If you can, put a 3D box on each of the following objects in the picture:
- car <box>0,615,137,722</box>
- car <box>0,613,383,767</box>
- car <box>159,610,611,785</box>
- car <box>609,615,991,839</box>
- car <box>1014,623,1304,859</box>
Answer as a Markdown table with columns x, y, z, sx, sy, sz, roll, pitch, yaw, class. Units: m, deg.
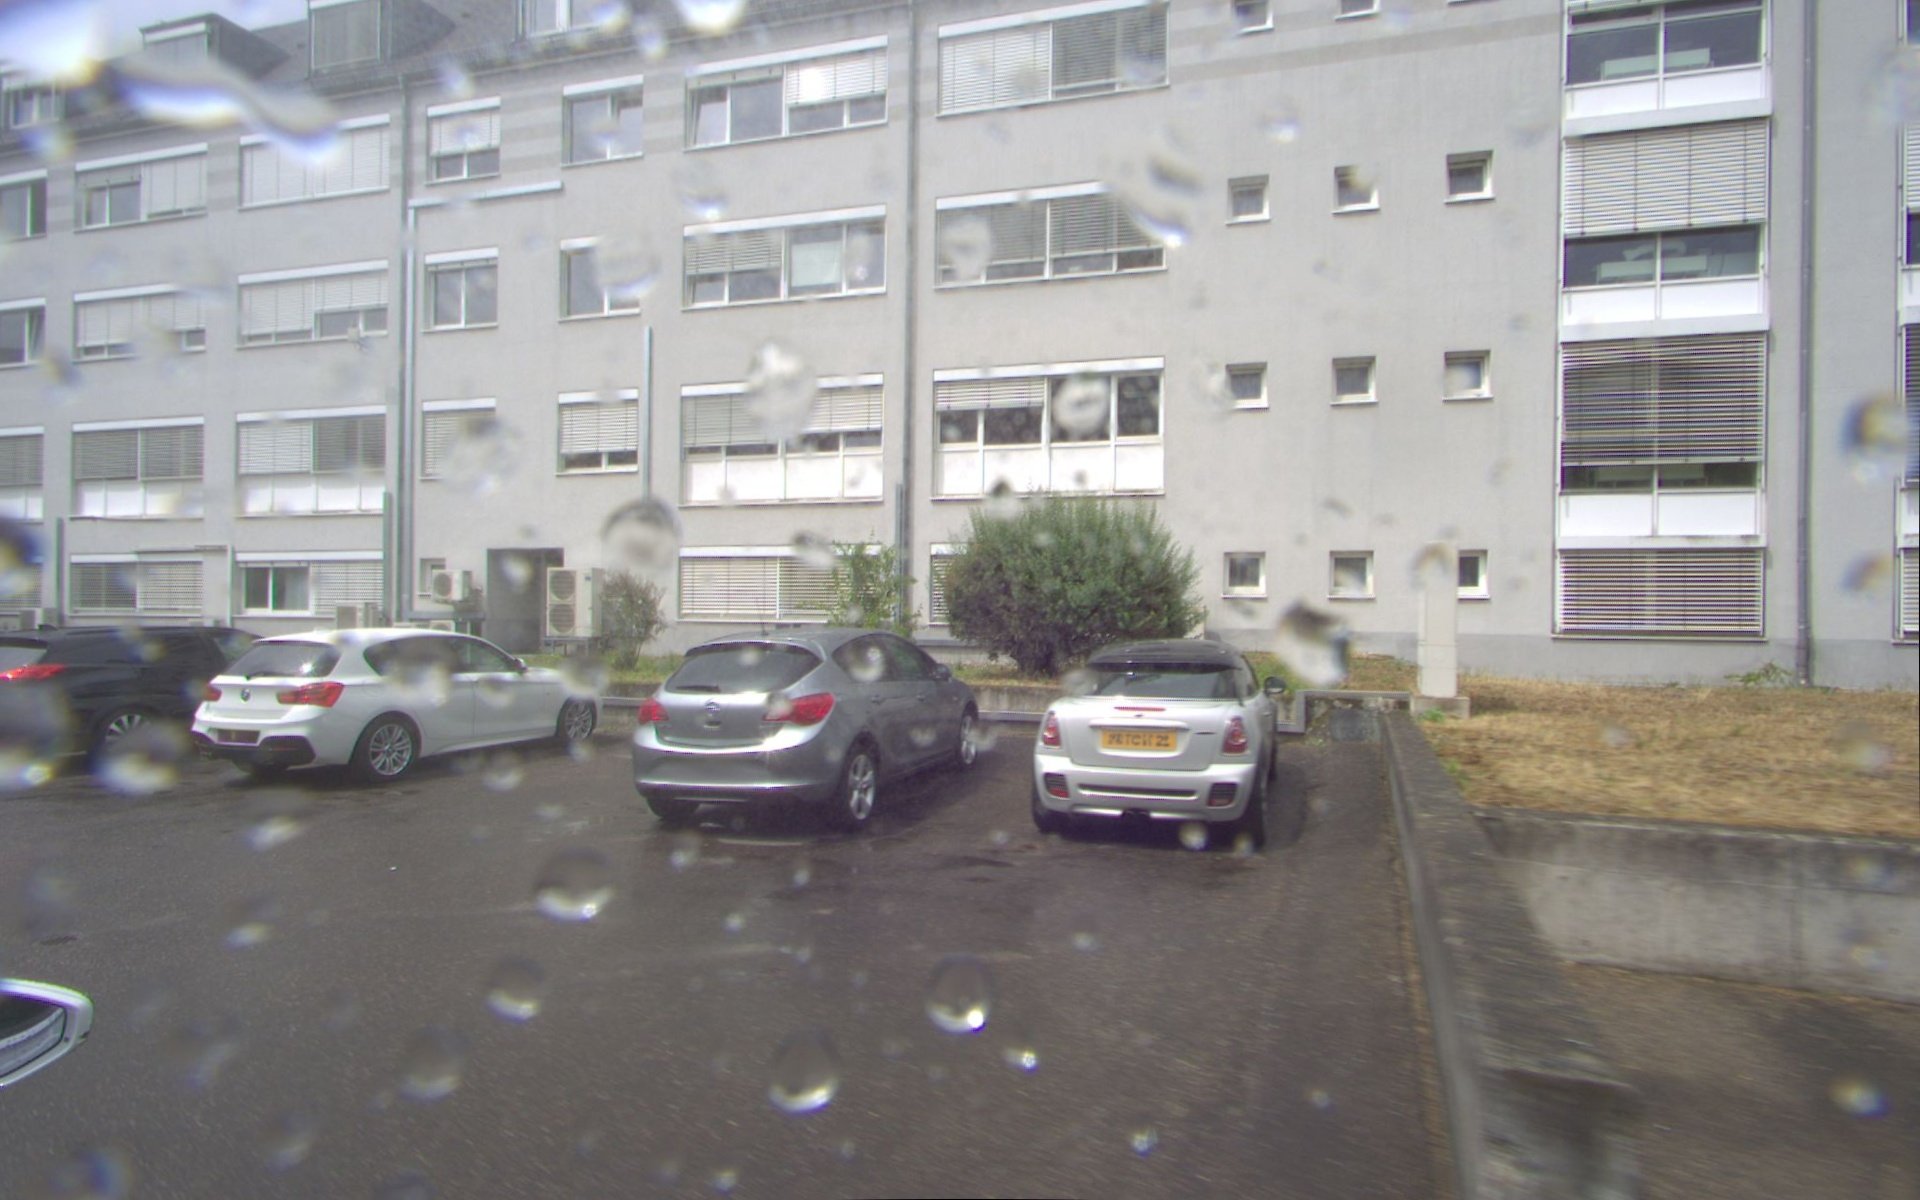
| x | y | z | sx | sy | sz | roll | pitch | yaw | class |
| --- | --- | --- | --- | --- | --- | --- | --- | --- | --- |
| -13.530 | 0.886 | 12.829 | 1.826 | 1.366 | 4.364 | 1 | -1 | 15 | car |
| -9.149 | 0.872 | 11.568 | 1.904 | 1.419 | 4.179 | 0 | -1 | 15 | car |
| -5.830 | 0.867 | 10.811 | 1.800 | 1.474 | 4.105 | 1 | 0 | 18 | car |
| -1.090 | 0.883 | 8.801 | 1.638 | 1.477 | 4.087 | 0 | -1 | 18 | car |
| 1.911 | 0.940 | 8.510 | 1.760 | 1.372 | 3.990 | 0 | 0 | 21 | car |
